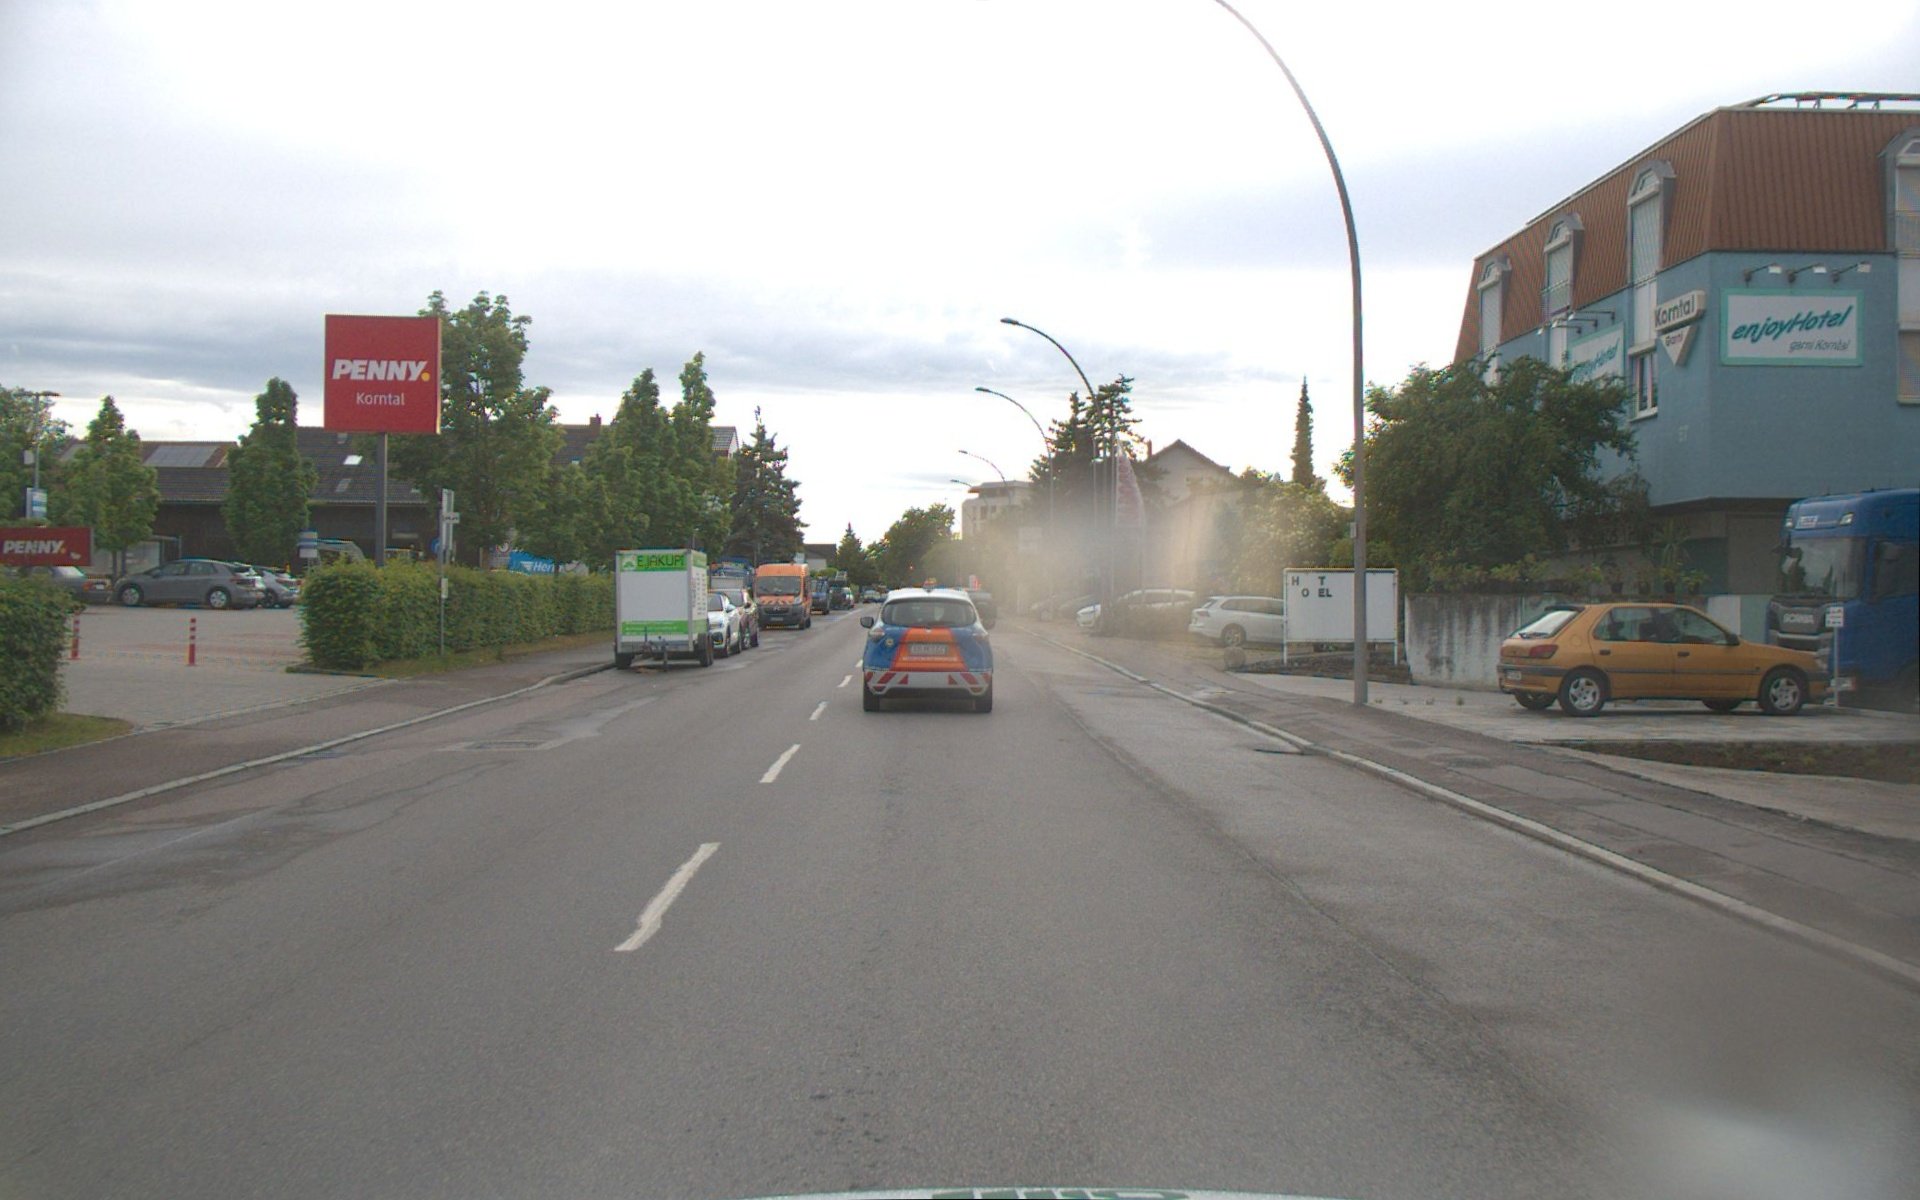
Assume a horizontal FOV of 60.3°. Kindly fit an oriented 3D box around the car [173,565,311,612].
[{"bbox_3d":[-25.310,-0.396,58.369,3.971,1.503,1.917,2,0,0],"label":"car"}]

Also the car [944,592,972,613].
[{"bbox_3d":[-0.194,0.188,119.301,1.678,1.463,4.522,2,0,-4],"label":"car"}]

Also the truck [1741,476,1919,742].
[{"bbox_3d":[14.655,0.230,25.156,4.063,3.737,2.718,4,-1,-4],"label":"truck"}]

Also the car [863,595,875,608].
[{"bbox_3d":[-10.998,0.153,200.113,1.359,1.509,3.781,0,0,-3],"label":"car"}]

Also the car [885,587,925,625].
[{"bbox_3d":[-2.443,0.269,72.814,1.617,1.548,3.997,2,0,-3],"label":"car"}]

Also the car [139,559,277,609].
[{"bbox_3d":[-25.361,-0.523,55.875,3.815,1.547,1.692,2,0,-7],"label":"car"}]

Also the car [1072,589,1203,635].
[{"bbox_3d":[6.126,0.410,57.339,4.251,1.501,1.902,1,0,-3],"label":"car"}]

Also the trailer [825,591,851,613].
[{"bbox_3d":[-8.386,0.099,114.146,1.683,1.282,5.241,2,2,-4],"label":"trailer"}]

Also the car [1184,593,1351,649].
[{"bbox_3d":[8.665,0.587,46.876,4.327,1.417,1.879,2,0,-3],"label":"car"}]

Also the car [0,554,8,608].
[{"bbox_3d":[-30.796,-0.634,49.143,3.913,1.634,1.768,2,0,-9],"label":"car"}]

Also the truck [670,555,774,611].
[{"bbox_3d":[-14.247,-1.015,99.286,5.792,3.127,2.449,2,0,-1],"label":"truck"}]

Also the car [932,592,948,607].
[{"bbox_3d":[-2.332,-0.077,189.671,1.617,1.701,3.997,2,0,-3],"label":"car"}]

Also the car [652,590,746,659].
[{"bbox_3d":[-6.210,0.544,39.687,1.737,1.525,4.135,0,1,-2],"label":"car"}]

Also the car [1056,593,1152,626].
[{"bbox_3d":[6.128,0.391,70.574,3.905,1.288,1.951,2,0,0],"label":"car"}]

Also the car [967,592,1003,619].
[{"bbox_3d":[1.290,0.273,87.448,1.558,1.364,4.090,2,0,-3],"label":"car"}]

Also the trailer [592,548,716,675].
[{"bbox_3d":[-6.155,0.194,33.764,1.776,2.354,4.728,-2,0,-2],"label":"trailer"}]

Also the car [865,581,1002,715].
[{"bbox_3d":[-0.401,0.608,22.357,1.697,1.659,3.493,0,0,-3],"label":"car"}]

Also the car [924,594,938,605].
[{"bbox_3d":[-3.891,-0.044,221.560,1.617,1.509,3.997,2,0,-3],"label":"car"}]

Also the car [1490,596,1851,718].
[{"bbox_3d":[8.965,0.699,21.048,3.908,1.455,1.630,1,0,-3],"label":"car"}]

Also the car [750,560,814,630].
[{"bbox_3d":[-6.906,-0.211,64.877,2.082,2.582,6.019,0,0,-2],"label":"car"}]

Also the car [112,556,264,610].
[{"bbox_3d":[-24.831,-0.536,53.285,3.977,1.578,1.883,2,0,-7],"label":"car"}]

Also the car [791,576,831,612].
[{"bbox_3d":[-8.630,-0.325,96.148,1.953,1.981,5.363,2,0,-2],"label":"car"}]

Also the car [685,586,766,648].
[{"bbox_3d":[-6.374,0.424,45.304,1.769,1.601,4.340,0,0,-2],"label":"car"}]

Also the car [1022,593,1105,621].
[{"bbox_3d":[5.133,0.347,82.219,3.908,1.288,1.949,2,0,-4],"label":"car"}]

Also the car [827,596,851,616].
[{"bbox_3d":[-8.899,0.437,121.741,1.526,1.458,3.998,2,0,-2],"label":"car"}]

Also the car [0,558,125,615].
[{"bbox_3d":[-24.380,-0.362,43.492,3.900,1.411,1.801,2,0,-7],"label":"car"}]

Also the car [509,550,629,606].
[{"bbox_3d":[-15.528,-0.854,65.834,4.219,2.049,2.062,2,0,-2],"label":"car"}]
